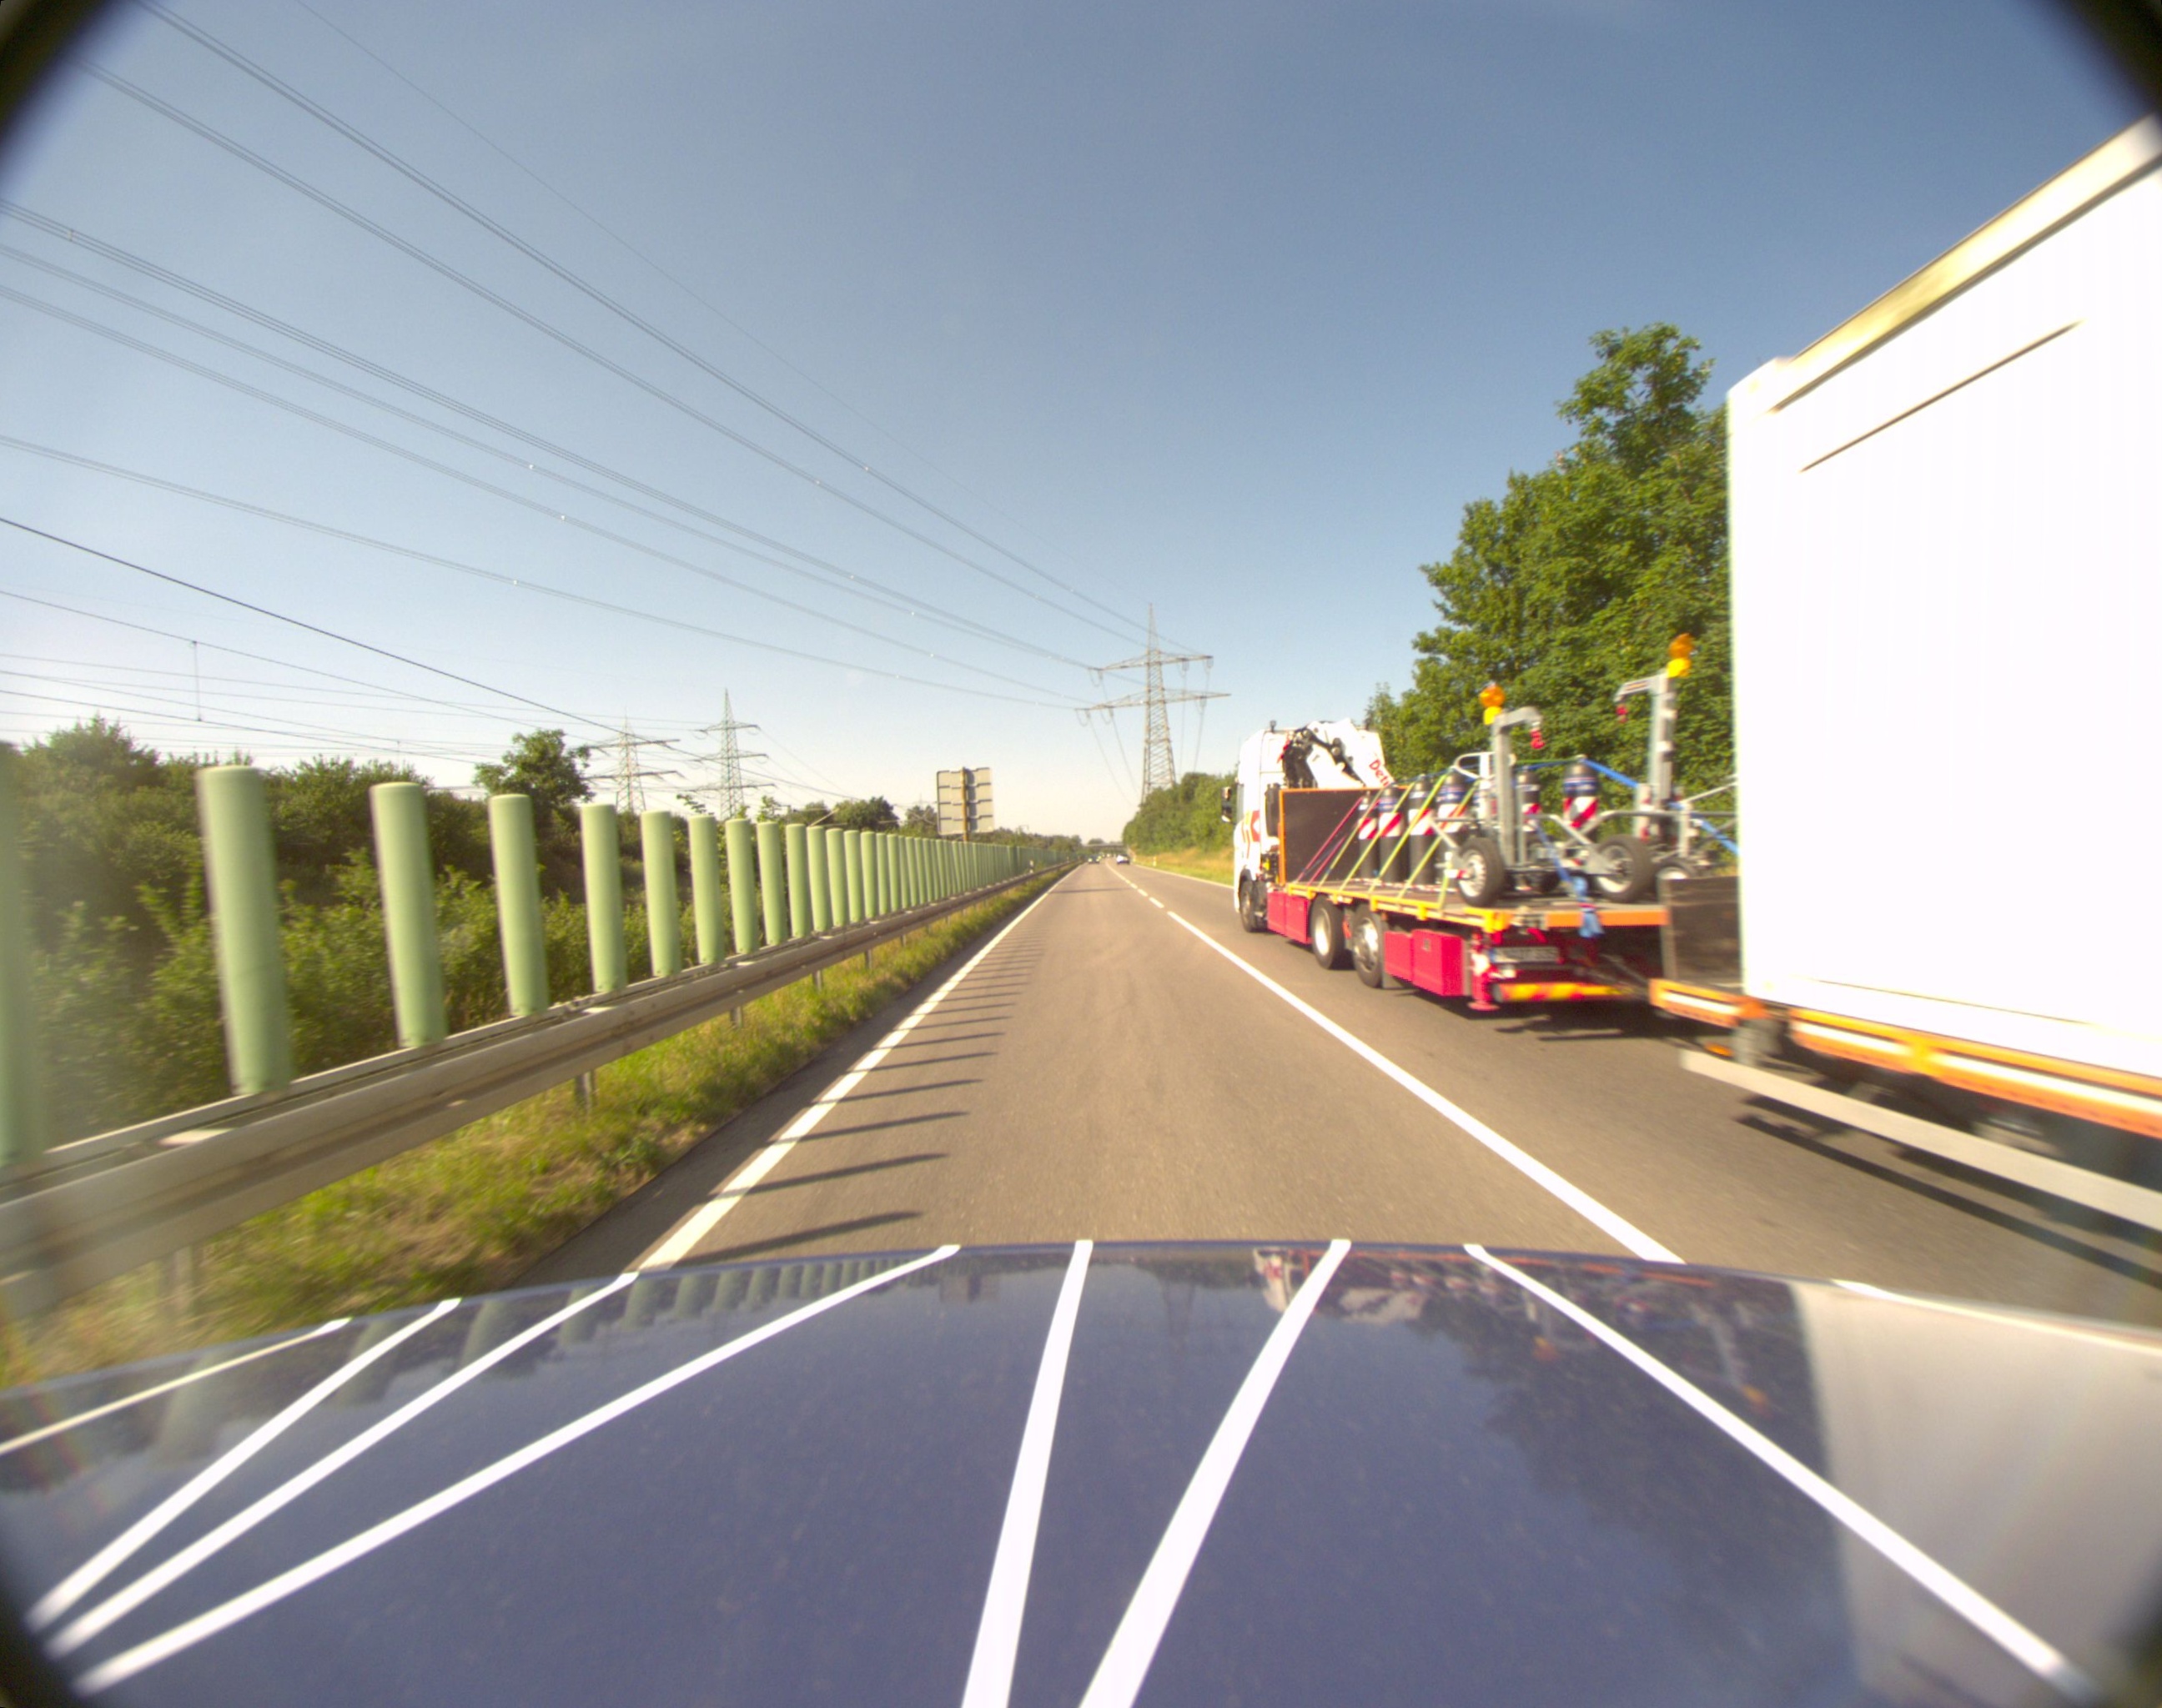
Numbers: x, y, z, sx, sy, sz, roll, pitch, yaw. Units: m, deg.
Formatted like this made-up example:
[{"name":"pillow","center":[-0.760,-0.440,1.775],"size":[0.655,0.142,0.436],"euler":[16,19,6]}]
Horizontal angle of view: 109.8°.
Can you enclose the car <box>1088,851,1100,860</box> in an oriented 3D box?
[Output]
[{"name":"car","center":[2.132,0.251,126.490],"size":[1.786,1.550,4.001],"euler":[-1,0,3]}]

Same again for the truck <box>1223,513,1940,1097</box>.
[{"name":"truck","center":[4.217,-0.329,10.137],"size":[2.566,3.667,10.486],"euler":[-2,0,0]}]

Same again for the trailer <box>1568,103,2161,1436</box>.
[{"name":"trailer","center":[4.188,-0.228,0.319],"size":[2.566,3.575,8.291],"euler":[-2,0,0]}]

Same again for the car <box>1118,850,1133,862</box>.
[{"name":"car","center":[6.217,0.242,107.345],"size":[1.800,1.584,3.999],"euler":[-2,1,0]}]
